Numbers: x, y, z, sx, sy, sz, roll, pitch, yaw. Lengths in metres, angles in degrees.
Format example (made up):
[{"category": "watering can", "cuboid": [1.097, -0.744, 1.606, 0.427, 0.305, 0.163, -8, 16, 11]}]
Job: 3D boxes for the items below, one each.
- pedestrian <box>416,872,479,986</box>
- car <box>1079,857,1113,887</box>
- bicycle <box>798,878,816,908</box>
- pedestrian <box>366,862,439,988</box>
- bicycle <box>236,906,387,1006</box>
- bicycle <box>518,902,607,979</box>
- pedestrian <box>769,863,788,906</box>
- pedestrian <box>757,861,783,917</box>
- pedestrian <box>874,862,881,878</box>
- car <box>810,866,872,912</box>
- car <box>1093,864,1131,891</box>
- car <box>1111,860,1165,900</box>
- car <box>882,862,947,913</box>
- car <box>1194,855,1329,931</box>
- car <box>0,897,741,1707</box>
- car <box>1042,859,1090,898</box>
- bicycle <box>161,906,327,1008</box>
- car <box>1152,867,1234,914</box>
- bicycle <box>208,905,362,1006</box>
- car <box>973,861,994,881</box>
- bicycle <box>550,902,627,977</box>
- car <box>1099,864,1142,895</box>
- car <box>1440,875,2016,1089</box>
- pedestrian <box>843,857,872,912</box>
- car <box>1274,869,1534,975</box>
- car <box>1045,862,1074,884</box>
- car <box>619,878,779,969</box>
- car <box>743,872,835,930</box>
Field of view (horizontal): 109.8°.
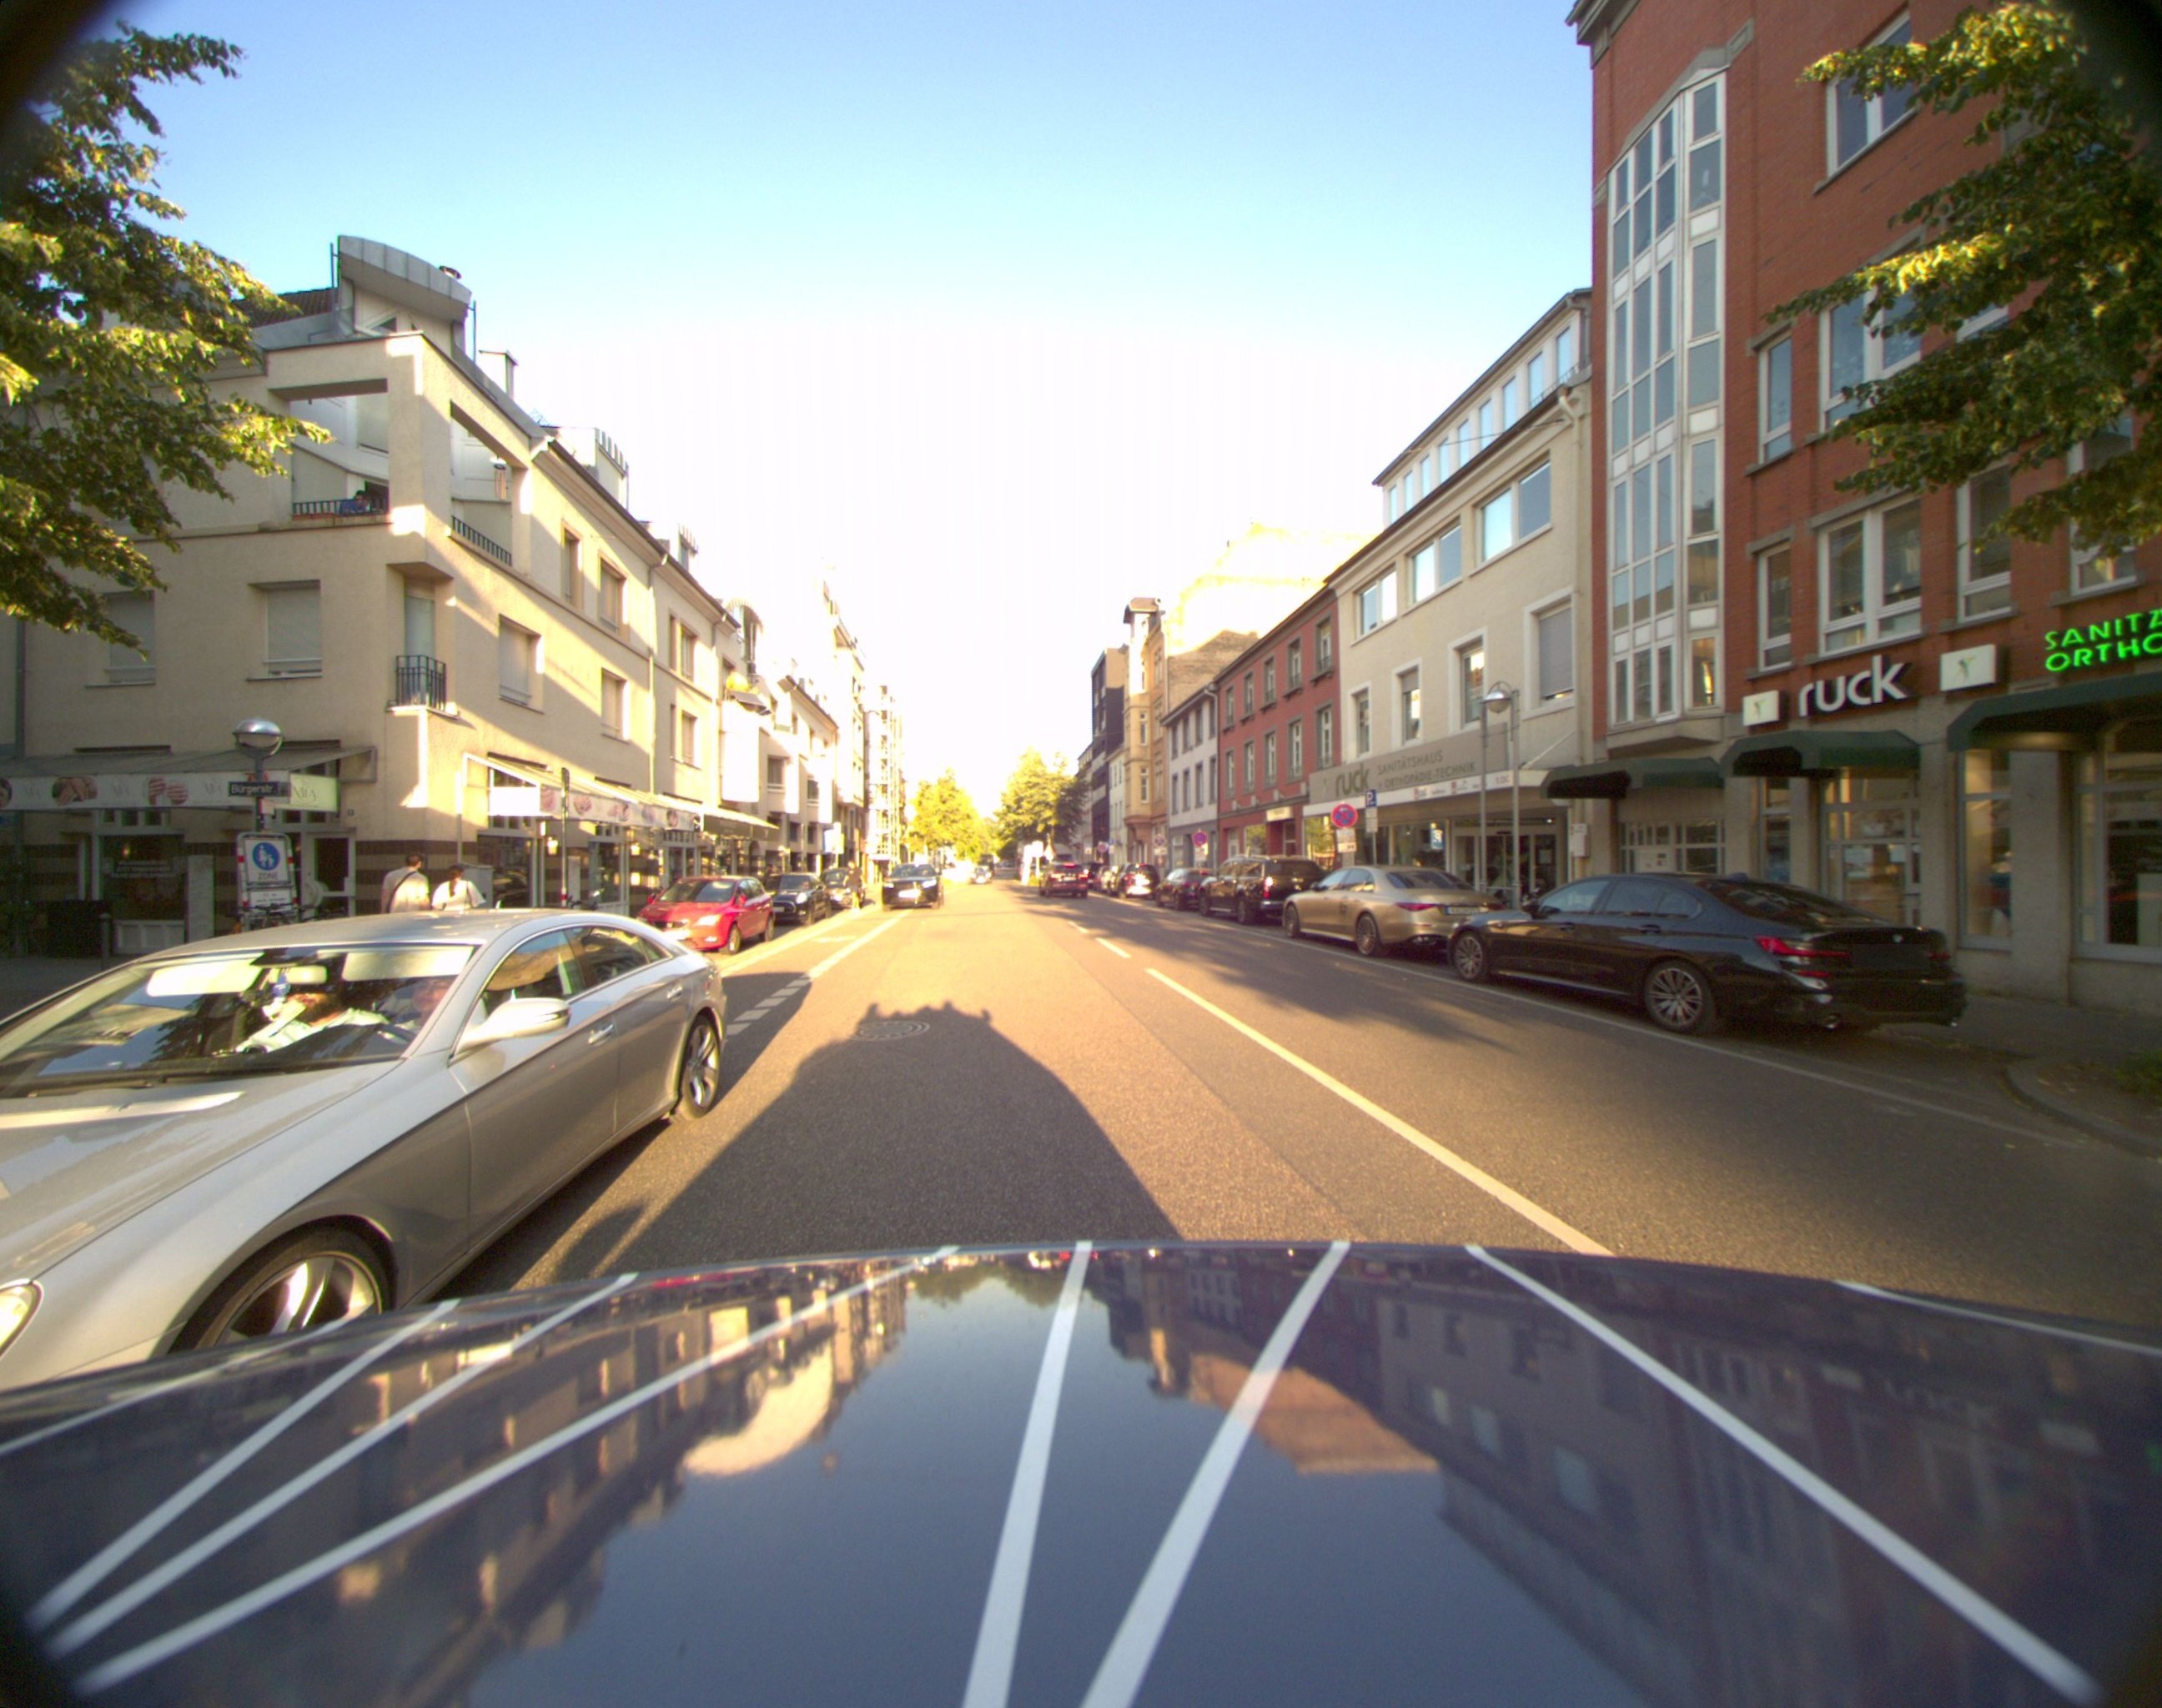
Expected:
[{"category": "pedestrian", "cuboid": [-9.087, 1.069, 10.911, 0.521, 1.583, 0.408, 2, 0, -8]}, {"category": "car", "cuboid": [0.924, 1.093, 47.832, 1.674, 1.763, 3.563, 2, -1, -6]}, {"category": "bicycle", "cuboid": [-10.641, 1.514, 29.500, 0.296, 1.079, 1.462, -1, 0, -7]}, {"category": "pedestrian", "cuboid": [-9.701, 1.002, 10.881, 0.545, 1.748, 0.502, 2, 0, -8]}, {"category": "bicycle", "cuboid": [-10.291, 1.315, 10.259, 0.322, 1.098, 1.878, -1, 0, -7]}, {"category": "bicycle", "cuboid": [-8.369, 1.360, 12.352, 0.315, 1.040, 1.881, 0, 0, -5]}, {"category": "pedestrian", "cuboid": [-12.856, 1.270, 32.319, 0.576, 1.789, 0.450, -2, 1, -7]}, {"category": "pedestrian", "cuboid": [-9.824, 1.094, 24.022, 0.631, 1.739, 0.669, 0, 0, -8]}, {"category": "pedestrian", "cuboid": [-16.606, 1.317, 61.991, 0.492, 1.256, 0.421, -2, 1, -7]}, {"category": "car", "cuboid": [-9.150, 1.279, 29.215, 1.622, 1.583, 3.923, -1, 0, -8]}, {"category": "car", "cuboid": [1.741, 1.317, 44.014, 1.674, 1.448, 3.563, 2, -1, -6]}, {"category": "car", "cuboid": [2.541, 1.164, 34.948, 1.726, 1.673, 4.047, 2, -1, -6]}, {"category": "car", "cuboid": [-5.936, 1.139, 27.448, 1.891, 1.626, 4.224, -2, 0, -8]}, {"category": "car", "cuboid": [4.626, 0.951, 20.334, 1.726, 1.768, 4.935, 1, -1, -9]}, {"category": "car", "cuboid": [-3.010, 1.059, 3.054, 1.748, 1.393, 4.635, -1, 1, -8]}, {"category": "car", "cuboid": [-0.749, 1.107, 35.344, 1.736, 1.665, 4.293, -1, -1, -7]}, {"category": "bicycle", "cuboid": [-11.082, 1.317, 10.154, 0.322, 1.098, 1.878, -1, 0, -7]}, {"category": "car", "cuboid": [3.801, 1.223, 26.468, 1.707, 1.429, 4.012, 2, -1, -8]}, {"category": "bicycle", "cuboid": [-10.613, 1.309, 10.223, 0.291, 1.098, 1.886, -1, 0, -7]}, {"category": "car", "cuboid": [-7.983, 1.359, 62.257, 1.623, 1.465, 3.686, -2, 0, -8]}, {"category": "bicycle", "cuboid": [-8.023, 1.365, 12.440, 0.315, 1.040, 1.664, 0, 0, -5]}, {"category": "car", "cuboid": [2.044, 1.304, 40.042, 1.690, 1.461, 3.689, 2, -1, -6]}, {"category": "car", "cuboid": [5.884, 1.014, 7.861, 1.726, 1.464, 4.538, 2, -1, -7]}, {"category": "pedestrian", "cuboid": [-7.937, 1.080, 27.035, 0.779, 1.872, 0.669, -4, 1, -8]}, {"category": "car", "cuboid": [5.332, 1.039, 13.504, 2.000, 1.463, 5.104, 1, -1, -6]}, {"category": "car", "cuboid": [-1.614, 1.356, 54.878, 1.674, 1.512, 3.562, 1, 0, -8]}, {"category": "car", "cuboid": [-7.200, 1.223, 14.742, 1.594, 1.425, 3.923, 0, 0, -8]}, {"category": "car", "cuboid": [-8.231, 1.275, 21.772, 1.622, 1.425, 3.923, 0, 0, -8]}]
